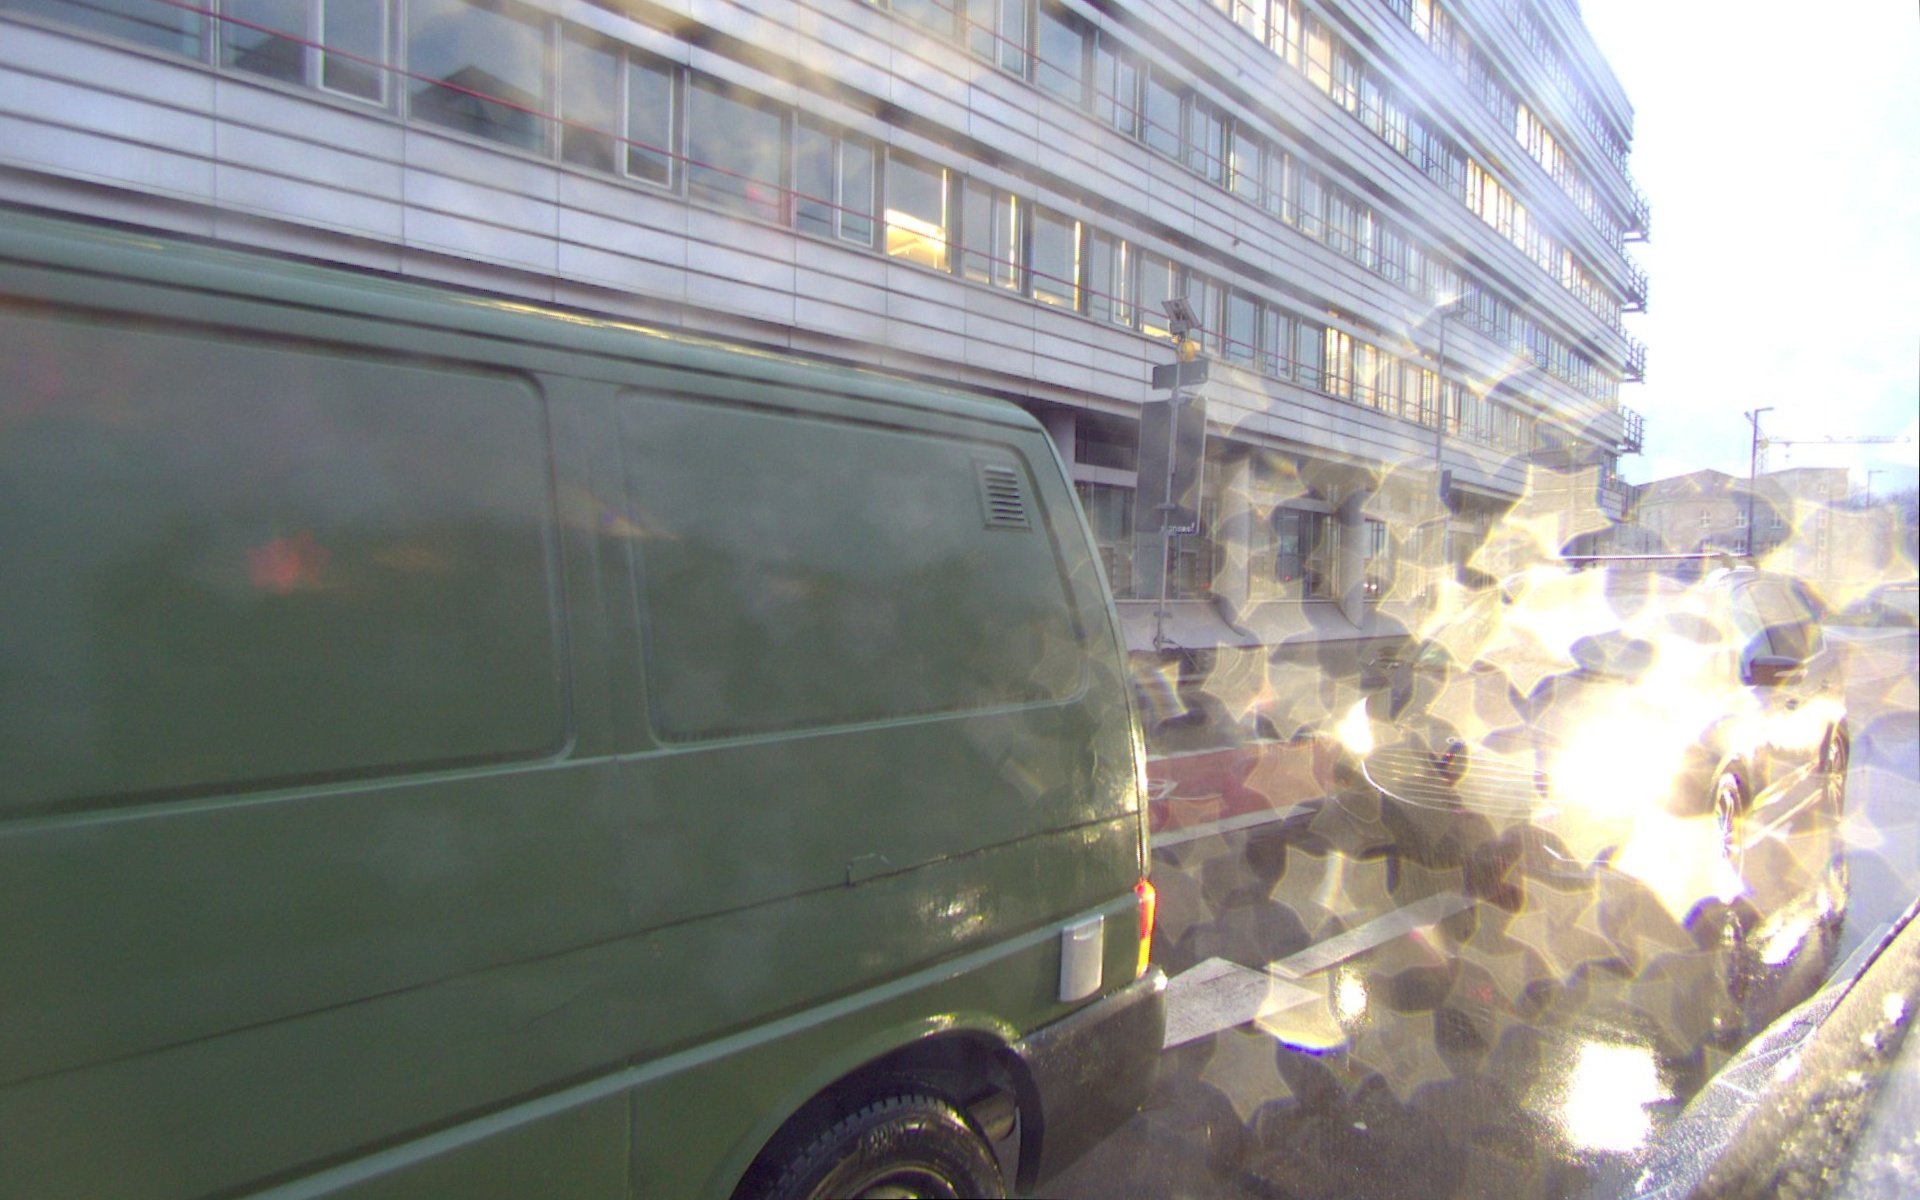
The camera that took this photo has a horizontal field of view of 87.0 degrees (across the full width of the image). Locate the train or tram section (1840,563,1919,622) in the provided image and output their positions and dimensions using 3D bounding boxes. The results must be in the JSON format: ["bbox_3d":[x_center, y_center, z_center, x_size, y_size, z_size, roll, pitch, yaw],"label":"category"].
[{"bbox_3d":[84.616,-0.656,86.865,3.662,4.995,13.407,0,0,-26],"label":"train or tram section"}]

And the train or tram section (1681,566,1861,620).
[{"bbox_3d":[78.816,-0.682,98.908,3.662,4.862,13.407,0,0,-26],"label":"train or tram section"}]

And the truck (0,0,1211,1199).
[{"bbox_3d":[-1.792,0.400,1.354,4.536,1.941,1.907,0,0,-41],"label":"truck"}]

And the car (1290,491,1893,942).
[{"bbox_3d":[4.193,0.468,6.367,4.606,1.842,1.908,0,0,-40],"label":"car"}]
